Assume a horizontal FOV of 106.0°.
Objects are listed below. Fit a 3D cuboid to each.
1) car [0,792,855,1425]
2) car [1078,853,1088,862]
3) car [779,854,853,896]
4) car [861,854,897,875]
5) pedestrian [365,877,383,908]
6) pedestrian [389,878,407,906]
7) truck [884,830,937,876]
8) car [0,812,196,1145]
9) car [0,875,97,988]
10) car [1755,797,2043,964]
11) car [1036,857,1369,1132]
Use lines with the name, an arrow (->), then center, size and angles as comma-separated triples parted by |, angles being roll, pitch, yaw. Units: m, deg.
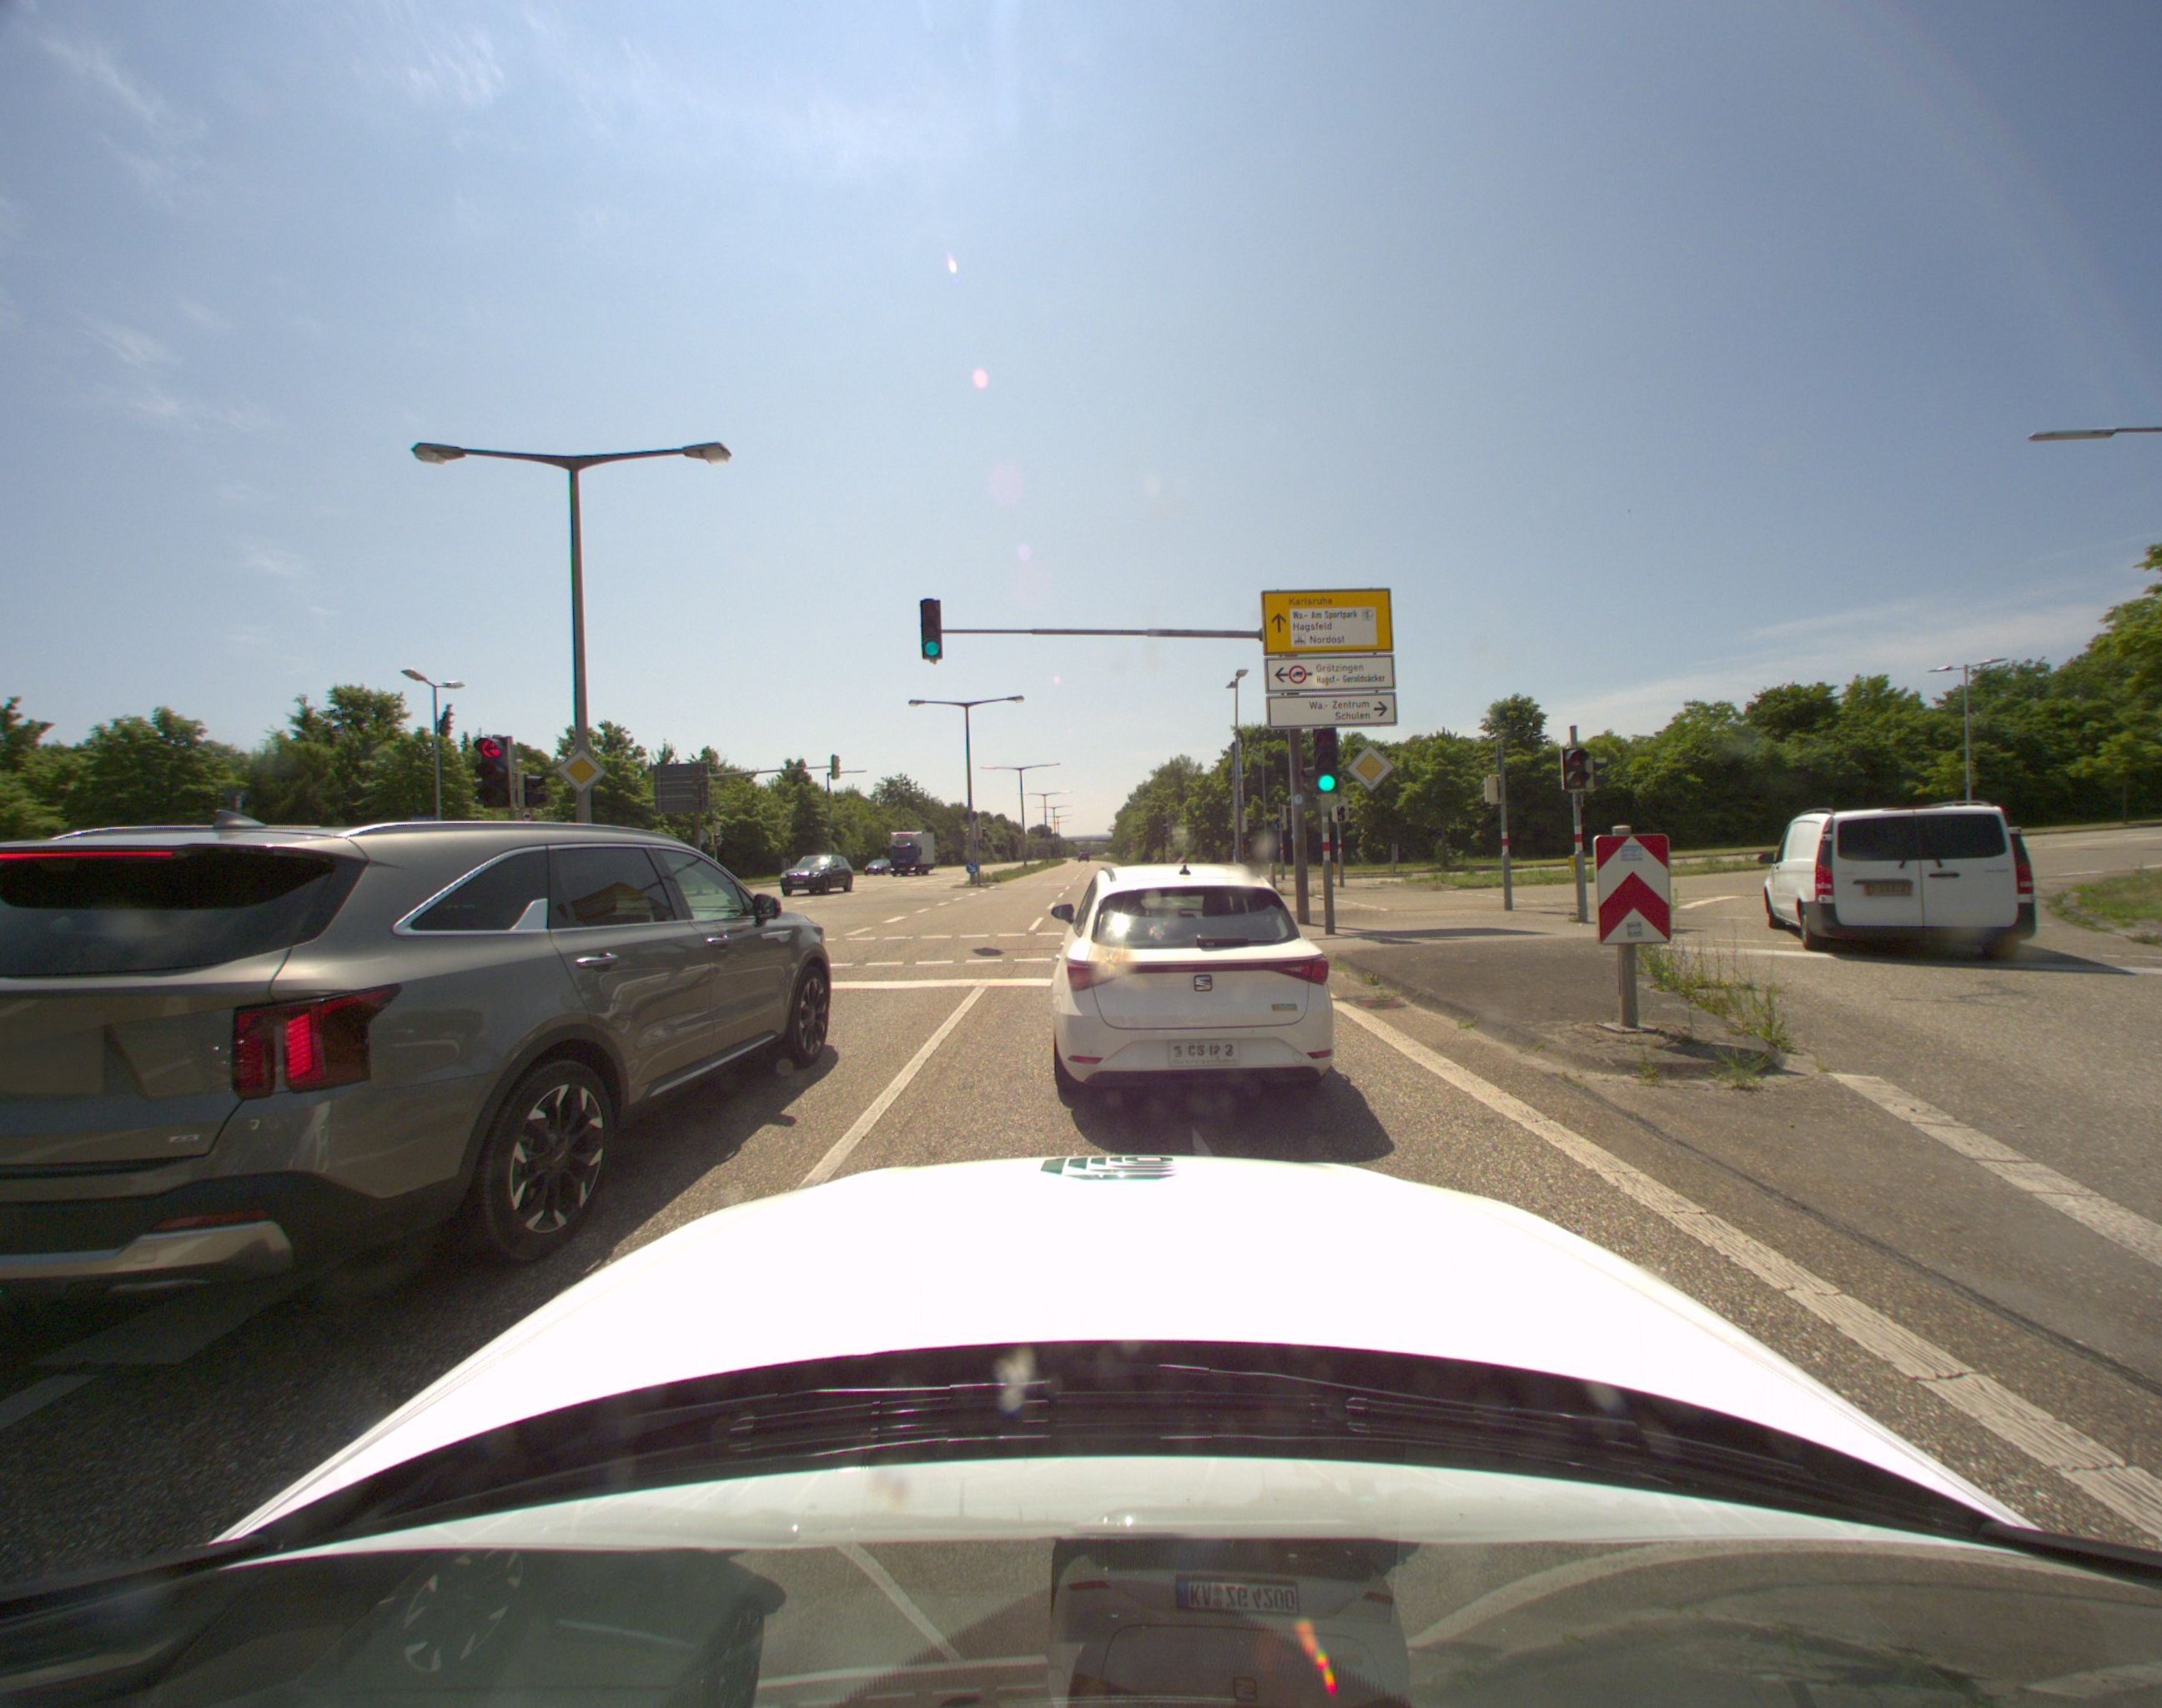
car -> -2.887, 0.701, 4.504 | 1.797, 1.662, 4.646 | -2, 0, 2
car -> 0.415, 0.656, 157.367 | 1.848, 1.709, 4.000 | -2, 0, 1
car -> -11.489, 0.867, 35.597 | 1.700, 1.663, 4.225 | -2, 0, 2
car -> -17.946, 0.862, 72.522 | 1.816, 1.732, 4.928 | -2, 0, 2
pedestrian -> -37.640, 2.055, 43.367 | 0.620, 1.603, 0.790 | -2, 0, -34
pedestrian -> -36.791, 2.041, 43.895 | 0.620, 1.503, 0.790 | -2, 0, -34
truck -> -14.169, -0.128, 68.280 | 2.678, 3.570, 7.269 | -2, 0, 1
car -> -6.791, 0.709, 3.257 | 1.726, 1.826, 4.320 | -2, 0, 0
car -> -15.177, 1.068, 9.668 | 1.816, 1.455, 4.170 | -2, 0, 1
car -> 11.013, 0.267, 11.419 | 1.842, 1.818, 4.940 | -2, 0, 33
car -> 0.689, 0.756, 6.117 | 1.728, 1.428, 3.695 | 0, -1, 2
